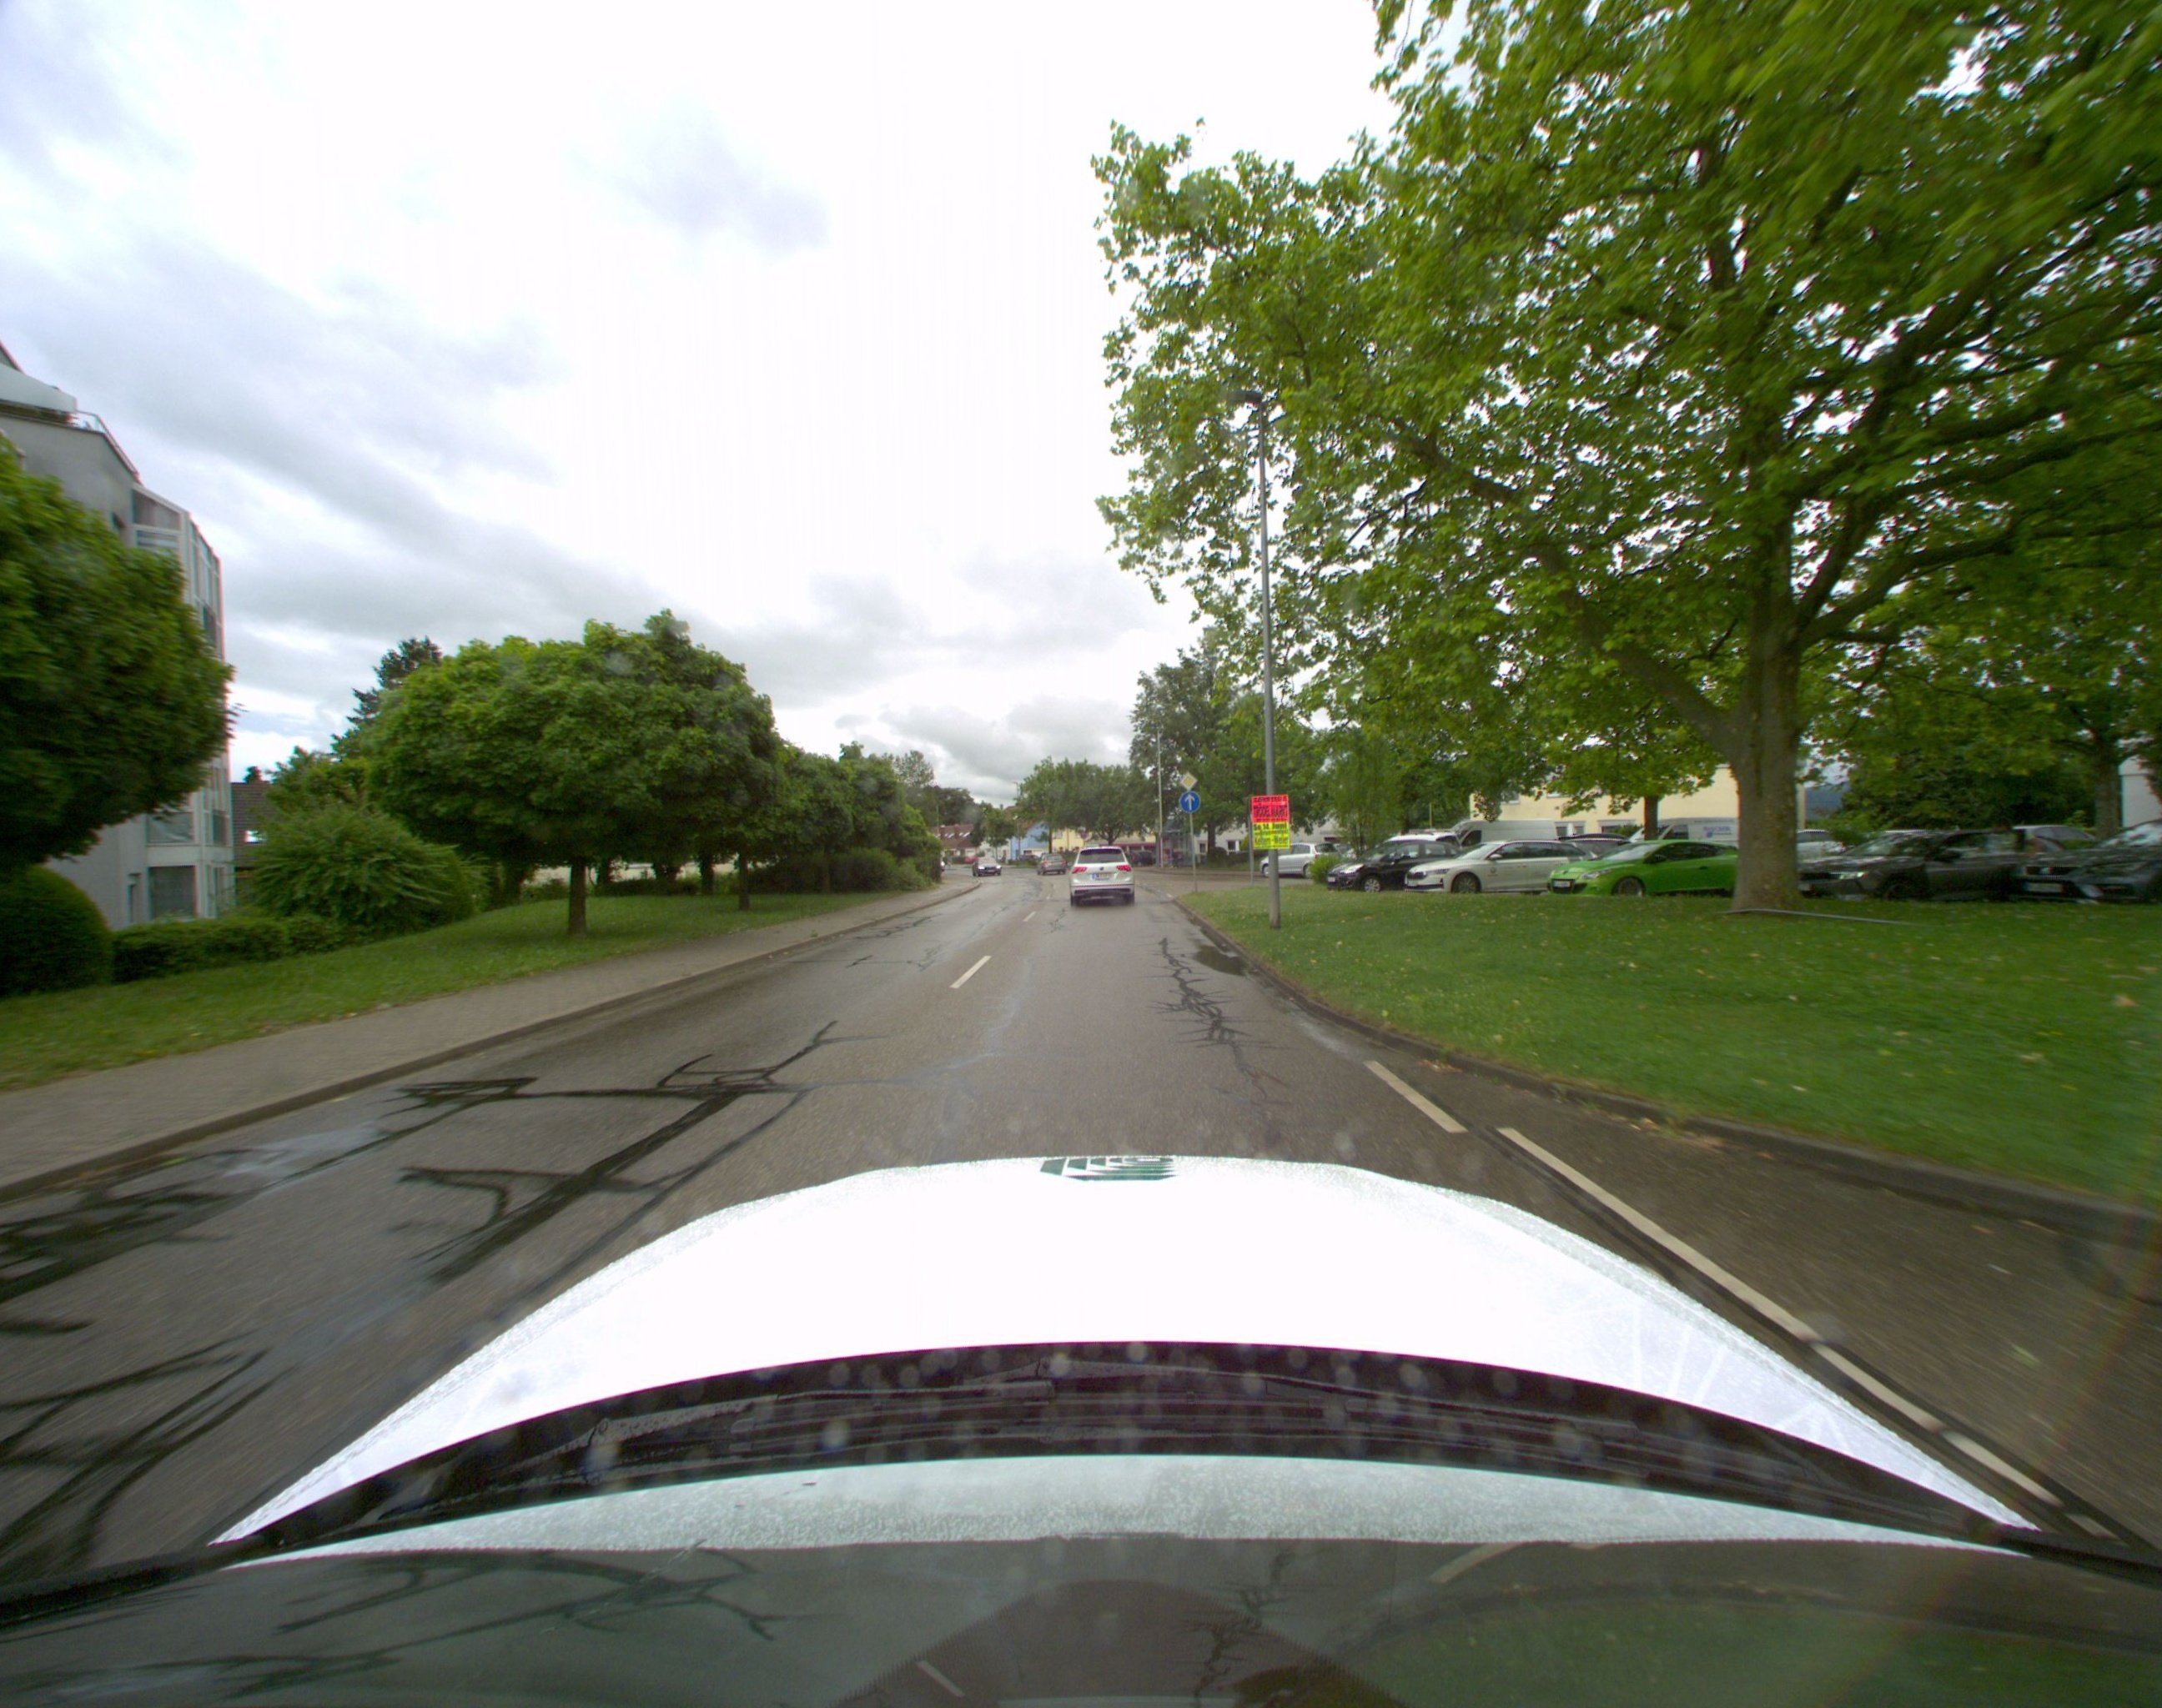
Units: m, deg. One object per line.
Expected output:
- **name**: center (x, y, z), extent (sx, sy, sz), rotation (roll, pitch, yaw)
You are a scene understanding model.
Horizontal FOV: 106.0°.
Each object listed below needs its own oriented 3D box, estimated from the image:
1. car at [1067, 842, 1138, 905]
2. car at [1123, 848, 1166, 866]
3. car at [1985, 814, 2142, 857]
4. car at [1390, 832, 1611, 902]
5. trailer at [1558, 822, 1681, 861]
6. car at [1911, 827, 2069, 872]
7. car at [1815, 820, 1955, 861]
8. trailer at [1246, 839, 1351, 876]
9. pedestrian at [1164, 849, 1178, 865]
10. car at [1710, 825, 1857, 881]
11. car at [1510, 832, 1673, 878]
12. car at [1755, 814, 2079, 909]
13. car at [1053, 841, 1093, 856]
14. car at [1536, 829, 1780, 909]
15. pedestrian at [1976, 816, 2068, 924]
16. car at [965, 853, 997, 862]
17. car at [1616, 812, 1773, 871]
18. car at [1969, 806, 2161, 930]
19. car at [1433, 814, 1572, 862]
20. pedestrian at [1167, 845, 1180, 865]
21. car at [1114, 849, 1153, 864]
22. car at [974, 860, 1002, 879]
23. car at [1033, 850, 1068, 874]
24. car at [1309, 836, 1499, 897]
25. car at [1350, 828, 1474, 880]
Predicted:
- **car**: center (0.651, 0.523, 24.230), extent (1.858, 1.650, 4.002), rotation (-2, 0, 2)
- **car**: center (6.386, 0.306, 82.071), extent (4.017, 1.721, 1.903), rotation (-2, 0, -35)
- **car**: center (38.330, -0.702, 31.855), extent (3.616, 1.530, 1.703), rotation (-2, 0, 13)
- **car**: center (10.227, 0.295, 20.040), extent (4.564, 1.443, 1.762), rotation (-2, 0, -5)
- **trailer**: center (22.323, -0.508, 33.852), extent (3.972, 1.437, 1.713), rotation (-2, 0, 2)
- **car**: center (27.063, -0.142, 24.298), extent (3.285, 1.230, 1.581), rotation (-1, 0, -8)
- **car**: center (26.221, -0.429, 26.610), extent (3.285, 1.230, 1.581), rotation (-1, 0, -8)
- **trailer**: center (9.876, 0.159, 37.294), extent (2.007, 1.543, 4.380), rotation (-2, 0, -33)
- **pedestrian**: center (6.002, 0.214, 54.288), extent (0.748, 1.011, 0.550), rotation (-2, 0, -8)
- **car**: center (25.178, -0.040, 29.257), extent (3.885, 1.773, 1.821), rotation (-2, 0, -6)
- **car**: center (16.674, 0.041, 26.794), extent (1.773, 1.382, 4.143), rotation (-2, 0, -34)
- **car**: center (14.352, 0.107, 14.118), extent (4.002, 1.371, 1.762), rotation (-2, 0, -5)
- **car**: center (-0.888, -0.631, 93.982), extent (4.209, 1.671, 1.971), rotation (-2, 0, -33)
- **car**: center (12.125, 0.300, 17.269), extent (4.002, 1.443, 1.762), rotation (-2, 0, -5)
- **pedestrian**: center (14.864, 0.241, 12.878), extent (0.734, 1.652, 0.588), rotation (-2, 0, 4)
- **car**: center (-14.230, 0.441, 115.659), extent (4.342, 1.260, 1.659), rotation (0, 0, -43)
- **car**: center (23.705, -0.475, 31.540), extent (4.743, 2.013, 1.996), rotation (-2, 0, -6)
- **car**: center (15.782, 0.116, 11.430), extent (4.252, 1.626, 1.770), rotation (-2, 0, 11)
- **car**: center (20.002, -0.737, 38.712), extent (5.819, 2.013, 1.994), rotation (-2, 0, -10)
- **pedestrian**: center (6.054, 0.059, 53.477), extent (0.726, 1.250, 0.550), rotation (-1, 0, -8)
- **car**: center (5.470, 0.303, 84.665), extent (3.720, 1.442, 1.688), rotation (-2, 0, -35)
- **car**: center (-7.307, 1.176, 63.664), extent (1.743, 1.414, 4.123), rotation (-2, 0, -13)
- **car**: center (-2.196, 0.540, 57.487), extent (1.770, 1.551, 3.984), rotation (-2, 0, -12)
- **car**: center (8.882, 0.314, 22.566), extent (4.564, 1.443, 1.762), rotation (-2, 0, -5)
- **car**: center (12.970, 0.023, 32.154), extent (2.006, 1.881, 4.173), rotation (-2, 0, -29)
